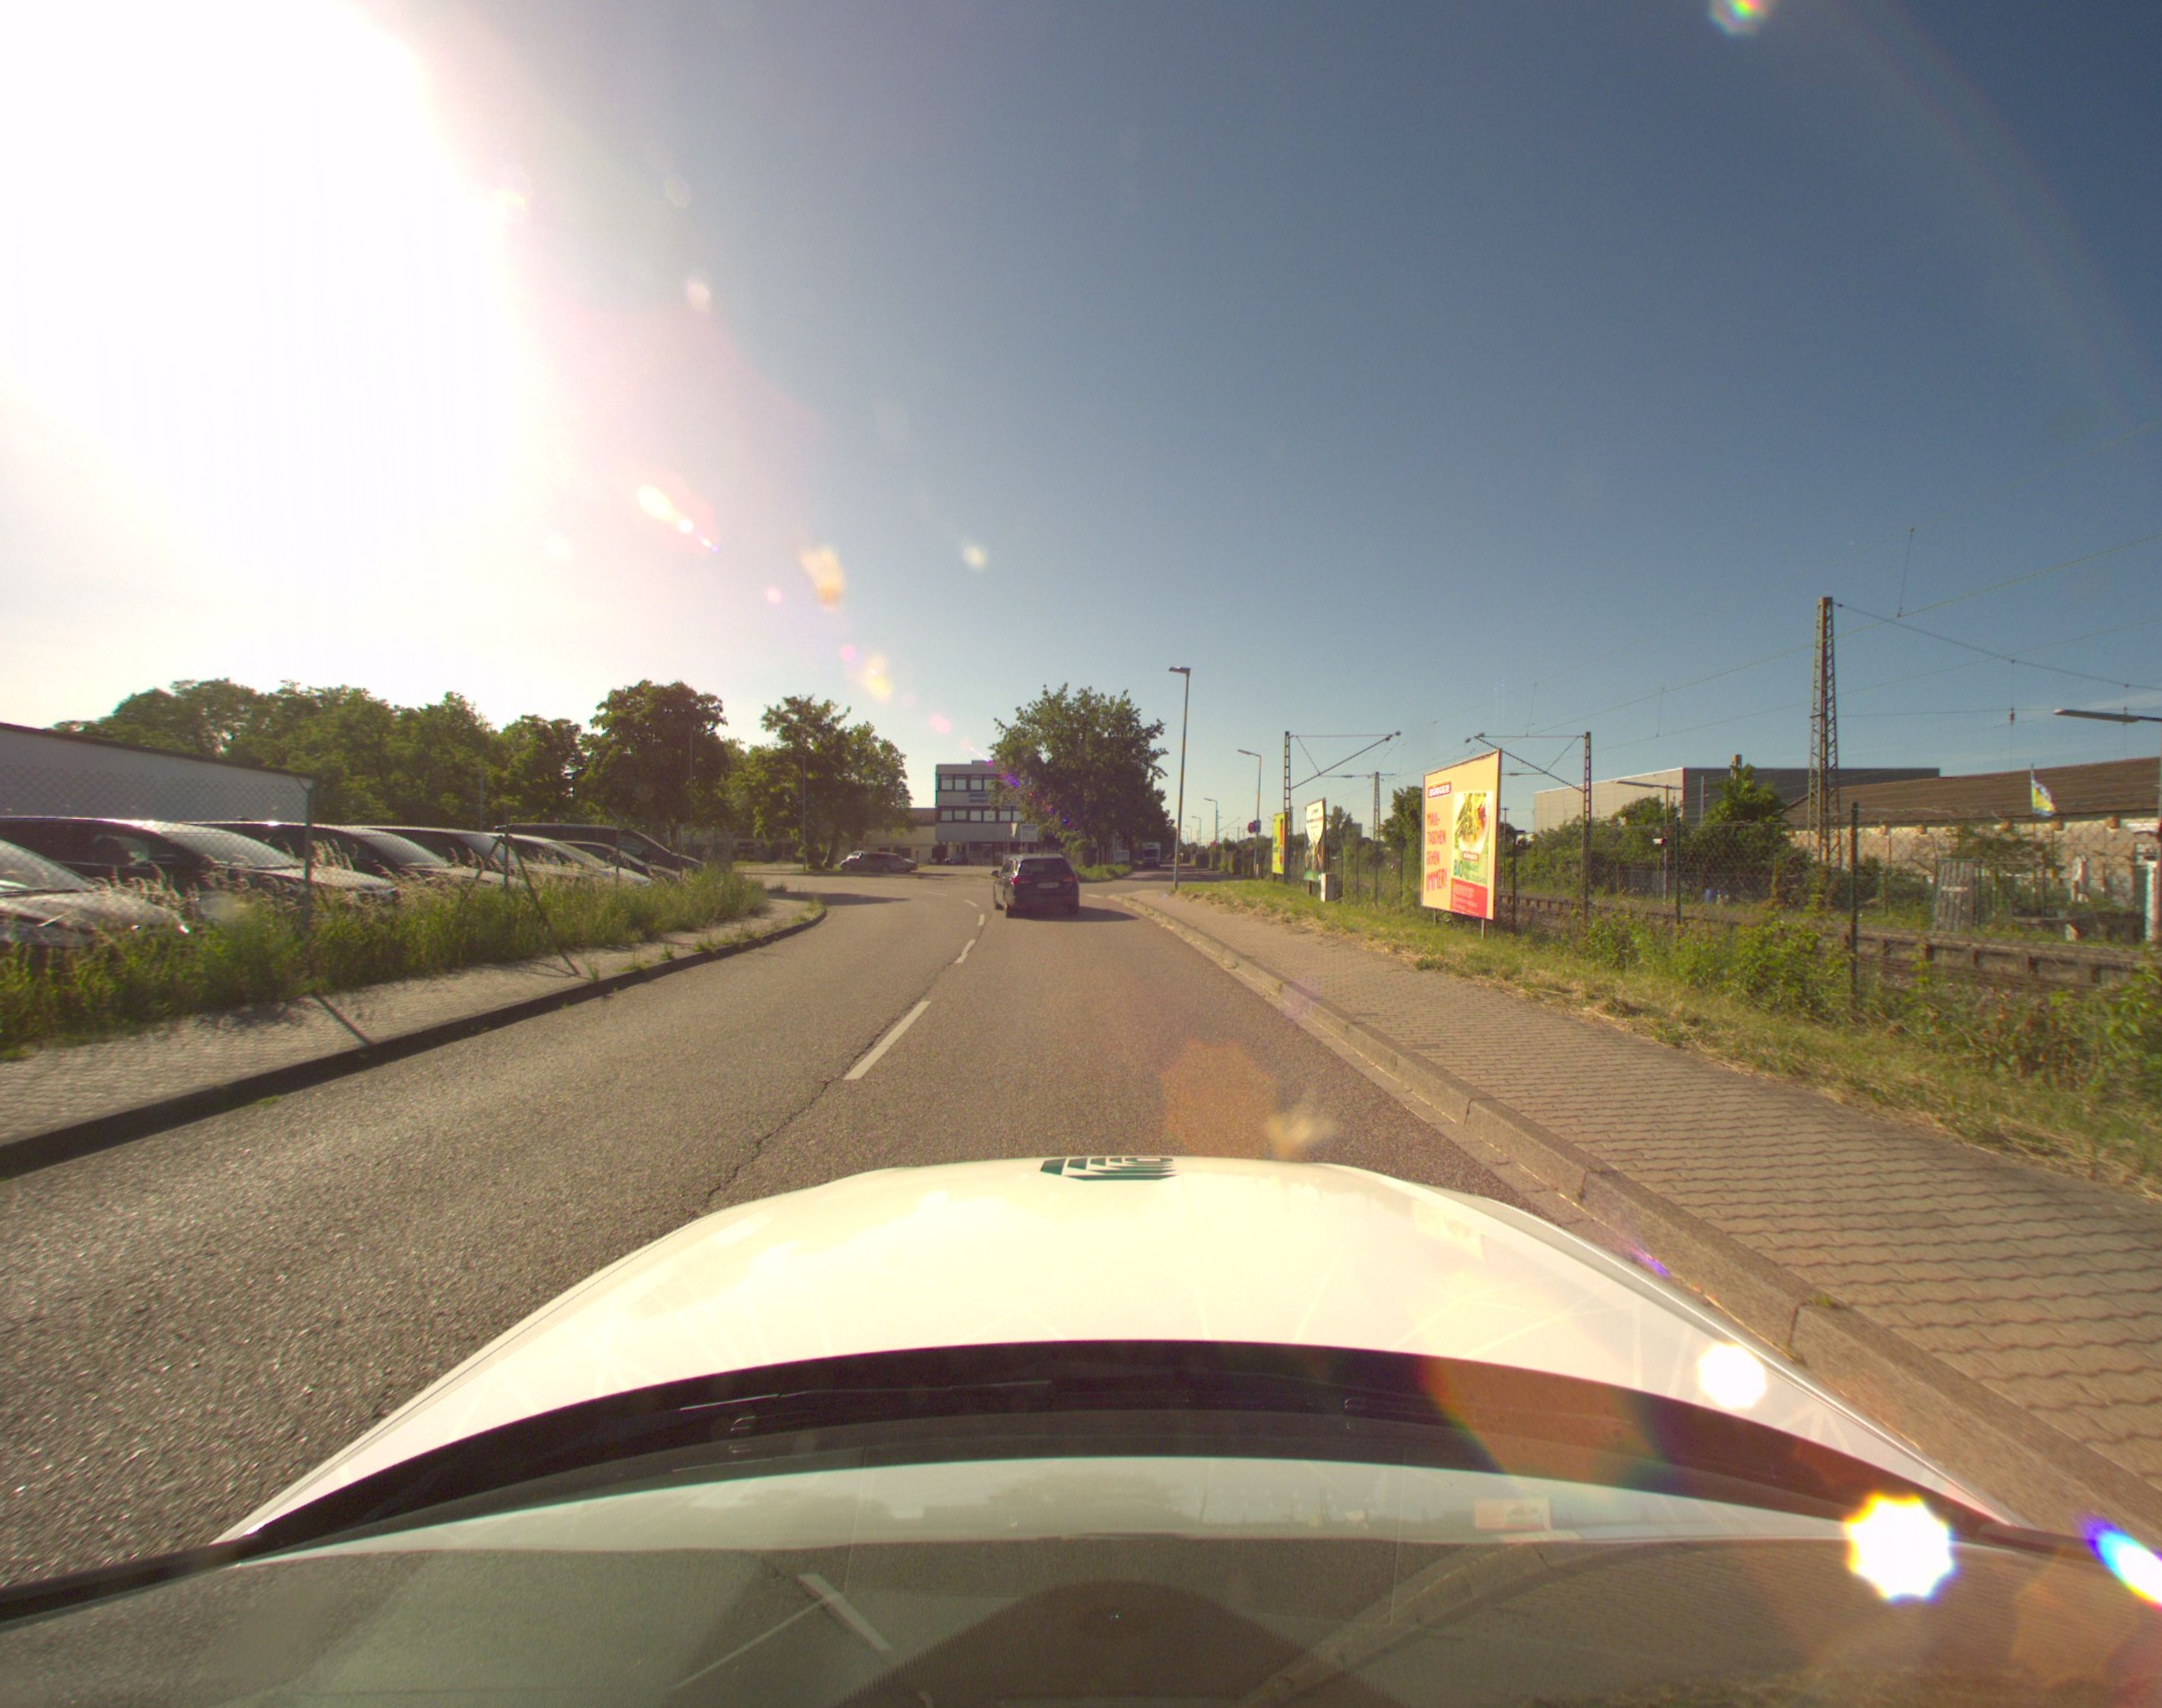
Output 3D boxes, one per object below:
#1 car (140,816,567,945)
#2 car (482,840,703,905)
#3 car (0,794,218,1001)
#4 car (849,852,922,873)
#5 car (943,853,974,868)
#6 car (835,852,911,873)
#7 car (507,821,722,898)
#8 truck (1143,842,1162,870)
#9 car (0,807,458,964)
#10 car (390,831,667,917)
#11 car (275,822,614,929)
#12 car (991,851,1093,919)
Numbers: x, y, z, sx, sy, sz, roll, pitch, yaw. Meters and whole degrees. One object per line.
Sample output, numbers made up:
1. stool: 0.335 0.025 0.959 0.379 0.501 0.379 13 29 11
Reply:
1. car: -10.438 0.347 12.222 4.412 1.648 1.825 0 0 -26
2. car: -11.759 0.424 19.878 4.418 1.436 1.822 0 0 -31
3. car: -10.868 0.333 7.103 4.385 1.648 1.836 0 0 -7
4. car: -14.662 0.638 61.236 4.887 1.484 2.003 0 0 5
5. car: -13.562 0.668 90.212 1.982 1.484 4.939 0 1 9
6. car: -14.939 0.613 58.643 4.887 1.426 2.003 0 0 5
7. car: -12.508 0.158 22.109 4.866 1.892 1.823 0 0 -30
8. truck: 10.502 0.274 120.962 2.601 3.885 13.547 1 0 4
9. car: -10.416 0.340 9.674 4.388 1.648 1.835 0 0 -9
10. car: -11.328 0.396 17.066 4.397 1.648 1.831 0 0 -16
11. car: -10.877 0.342 14.400 4.412 1.648 1.825 0 0 -26
12. car: -1.115 0.689 20.675 1.943 1.488 4.548 -1 0 -11
